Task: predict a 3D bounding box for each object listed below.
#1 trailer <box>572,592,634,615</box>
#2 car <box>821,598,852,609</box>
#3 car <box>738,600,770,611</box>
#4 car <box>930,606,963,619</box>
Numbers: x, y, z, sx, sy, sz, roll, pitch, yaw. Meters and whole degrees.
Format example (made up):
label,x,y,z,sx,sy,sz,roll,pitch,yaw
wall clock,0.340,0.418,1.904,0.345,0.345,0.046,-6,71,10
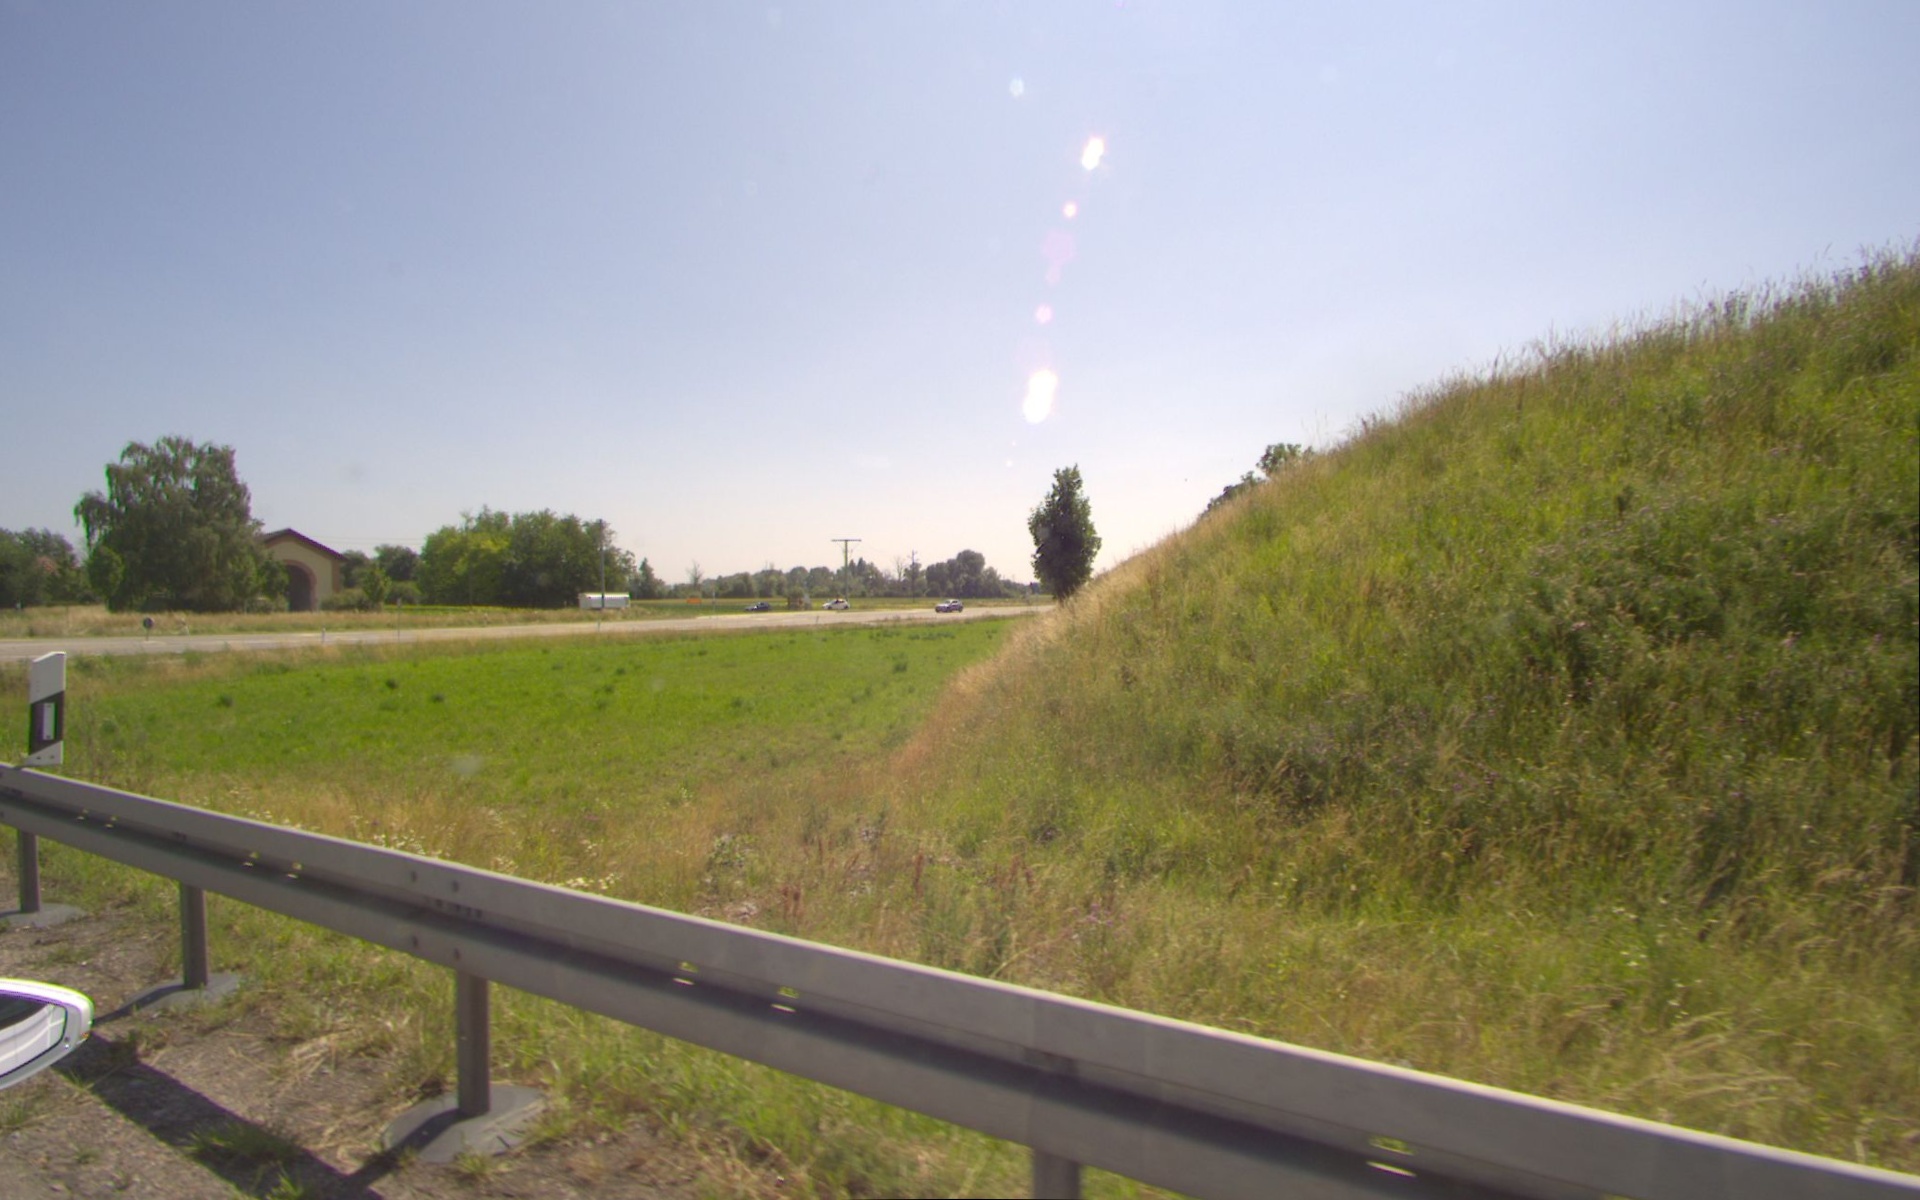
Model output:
label,x,y,z,sx,sy,sz,roll,pitch,yaw
trailer,-40.761,0.378,114.570,2.651,2.489,6.339,2,2,36
car,-17.132,0.515,138.930,3.967,1.350,1.692,1,1,-19
car,-26.447,0.713,128.802,1.659,1.406,3.809,2,1,40
car,-1.686,1.544,125.592,1.846,1.565,4.523,1,1,35
